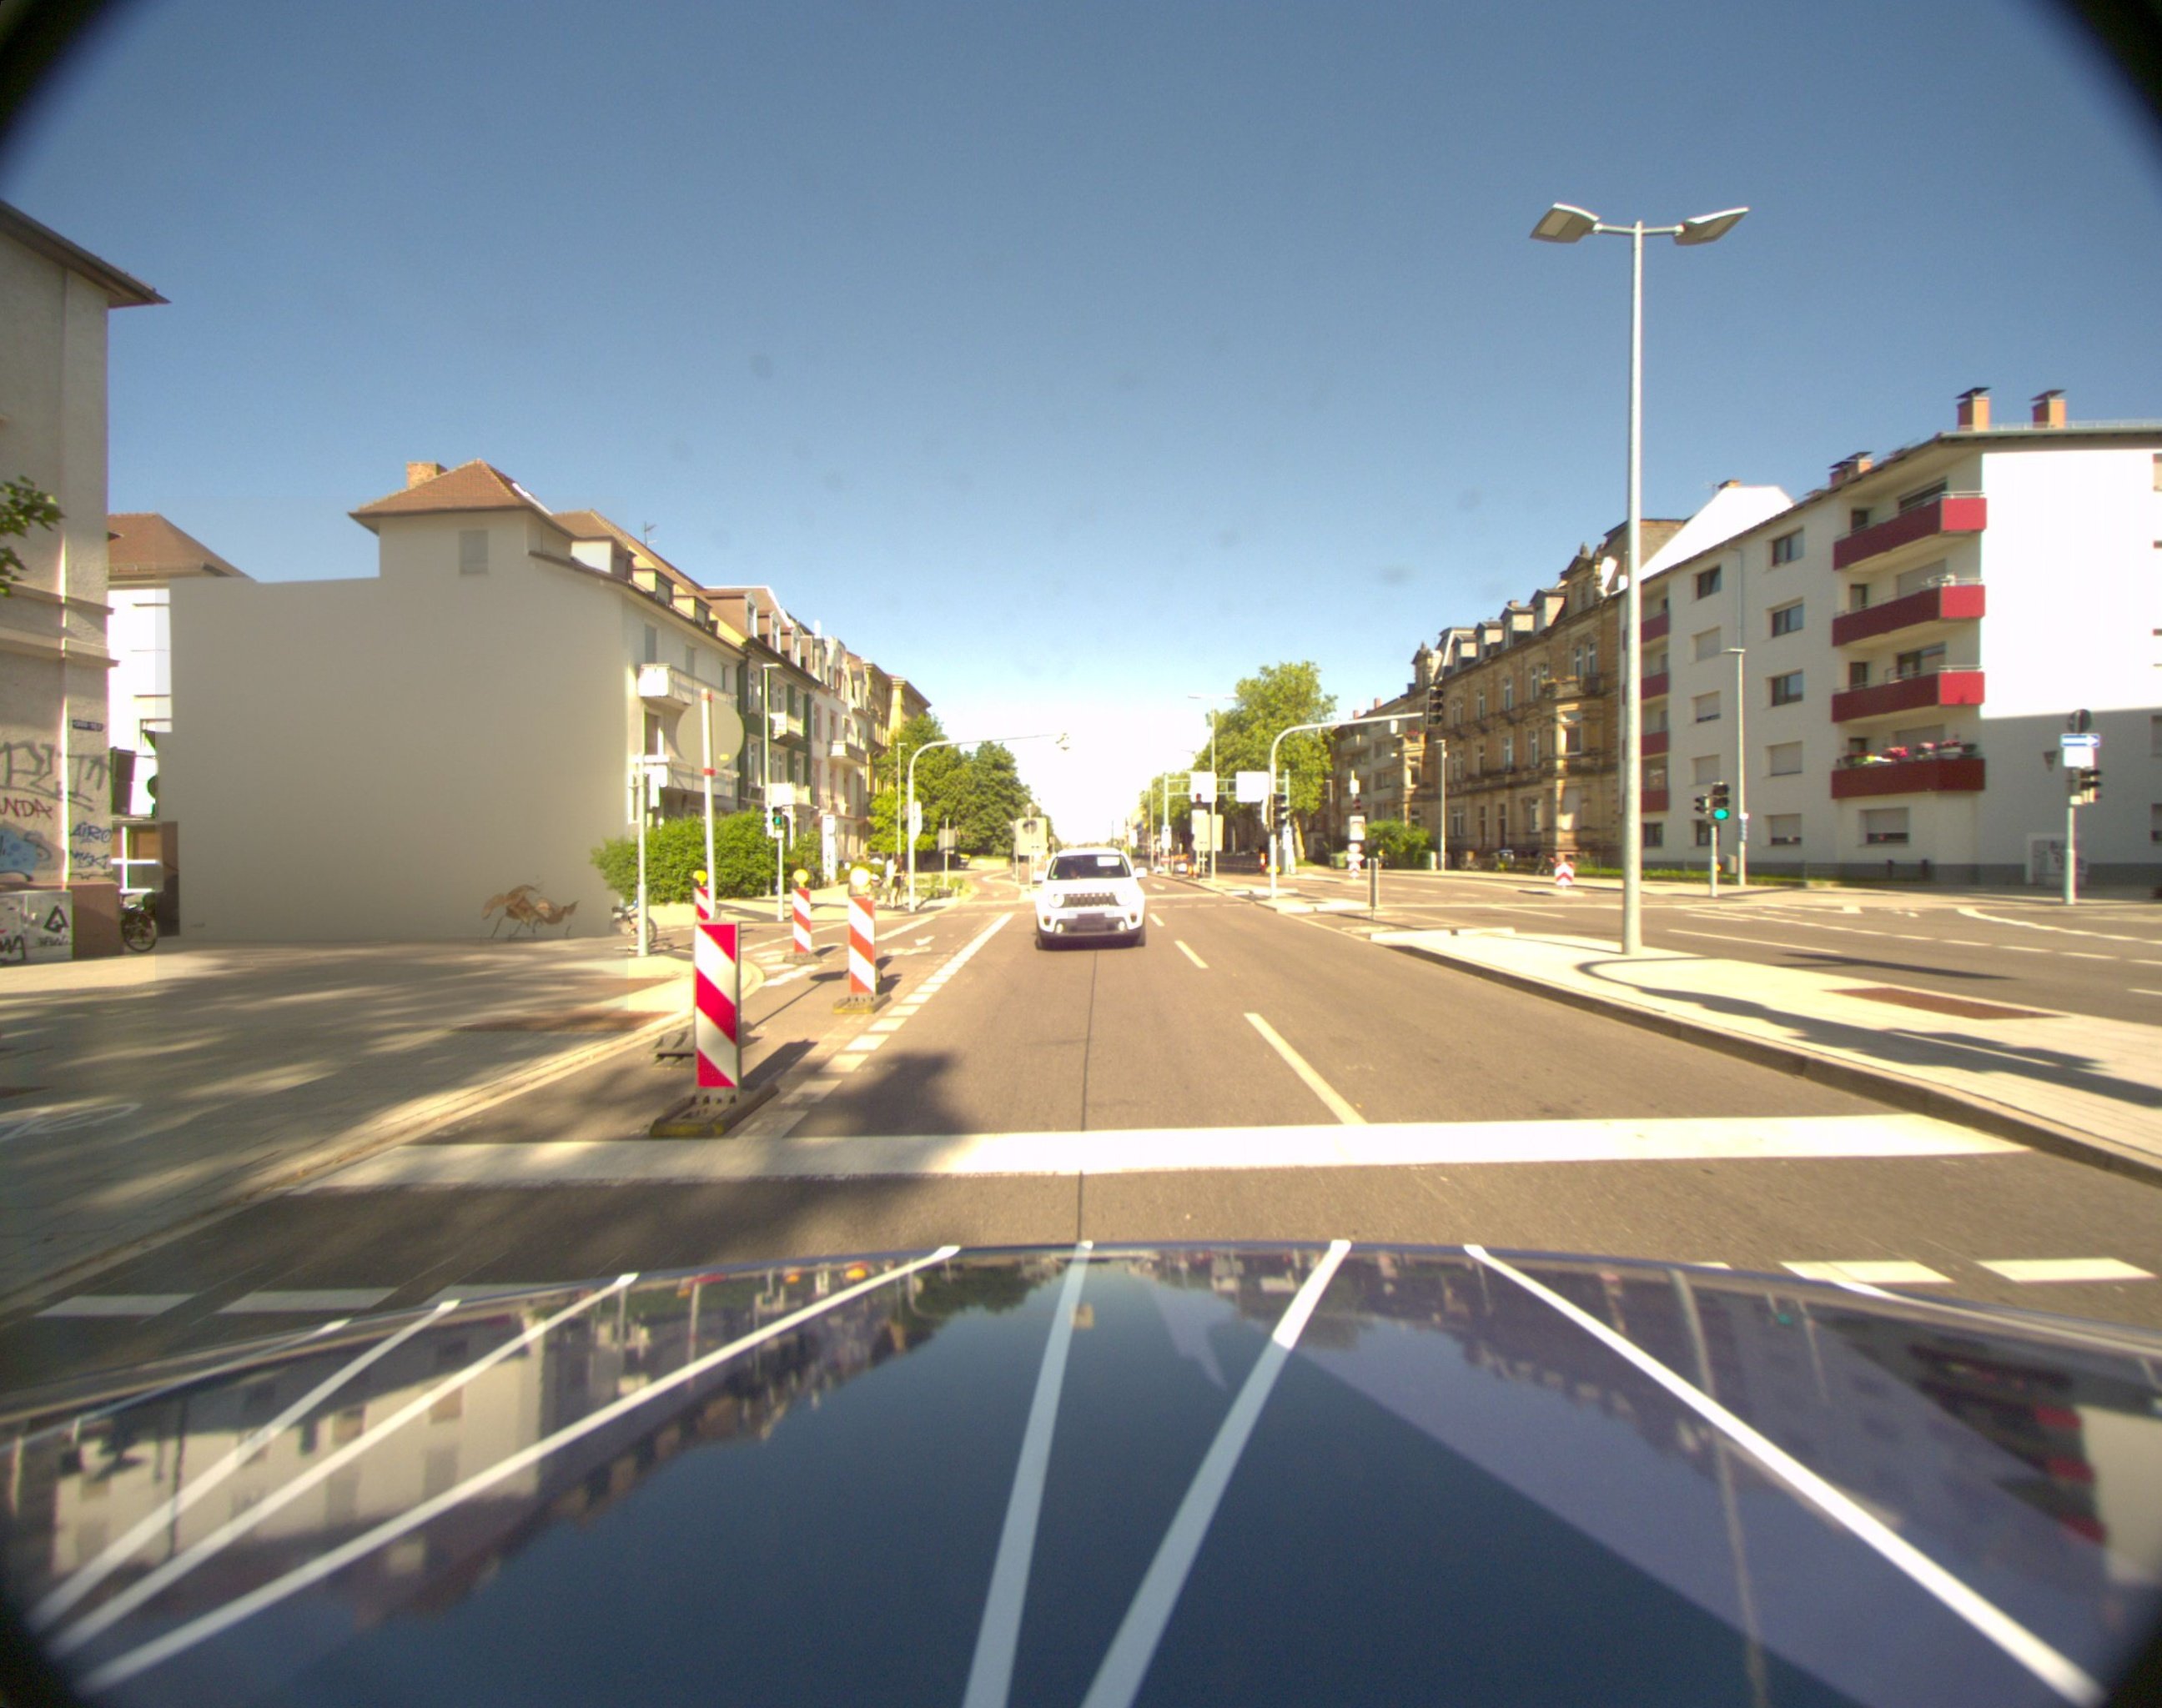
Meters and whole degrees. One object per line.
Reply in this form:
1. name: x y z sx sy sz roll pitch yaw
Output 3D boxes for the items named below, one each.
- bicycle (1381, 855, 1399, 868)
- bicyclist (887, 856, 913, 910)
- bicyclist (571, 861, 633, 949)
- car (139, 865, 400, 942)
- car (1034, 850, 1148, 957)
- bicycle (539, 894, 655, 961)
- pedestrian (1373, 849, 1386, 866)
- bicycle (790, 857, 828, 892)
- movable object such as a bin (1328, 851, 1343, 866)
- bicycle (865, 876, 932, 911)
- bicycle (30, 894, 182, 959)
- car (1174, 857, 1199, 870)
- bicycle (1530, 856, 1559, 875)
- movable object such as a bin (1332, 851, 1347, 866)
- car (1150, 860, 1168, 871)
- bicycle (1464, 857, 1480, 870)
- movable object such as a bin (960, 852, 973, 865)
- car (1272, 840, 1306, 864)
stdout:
1. bicycle: 24.078 0.574 59.243 0.468 0.999 2.250 -2 0 -1
2. bicyclist: -5.815 0.917 24.403 0.605 1.698 0.858 -1 0 0
3. bicyclist: -8.550 0.882 13.596 0.872 1.491 0.724 -1 1 -29
4. car: -19.135 1.142 18.044 4.259 1.609 1.985 -1 1 5
5. car: 0.139 0.804 13.722 1.744 1.647 3.690 -1 -1 -1
6. bicycle: -8.579 1.281 13.559 1.689 1.091 0.689 1 -1 -29
7. pedestrian: 23.445 0.282 59.643 0.568 1.369 1.090 -1 0 -2
8. bicycle: -11.733 0.860 32.876 0.710 1.435 2.491 -2 0 -1
9. movable object such as a bin: 23.557 0.437 70.379 0.895 1.354 1.314 1 -1 -1
10. bicycle: -5.864 1.267 24.461 1.967 1.019 0.605 -2 0 0
11. bicycle: -17.376 1.287 13.561 2.001 1.074 0.579 -1 1 2
12. car: 11.545 1.057 83.456 1.936 1.337 4.316 -1 -1 -2
13. bicycle: 24.168 0.573 39.653 0.305 0.952 1.940 0 0 1
14. movable object such as a bin: 23.488 0.422 68.986 0.895 1.352 1.474 1 -1 1
15. car: 11.548 1.679 112.899 1.999 1.444 4.390 -3 -1 -2
16. bicycle: 24.219 0.564 47.056 0.299 0.766 1.414 -1 0 1
17. movable object such as a bin: -12.079 0.461 80.158 0.975 1.389 1.285 2 -1 -23
18. car: 22.485 -0.164 82.240 2.250 2.431 5.288 1 -1 1
